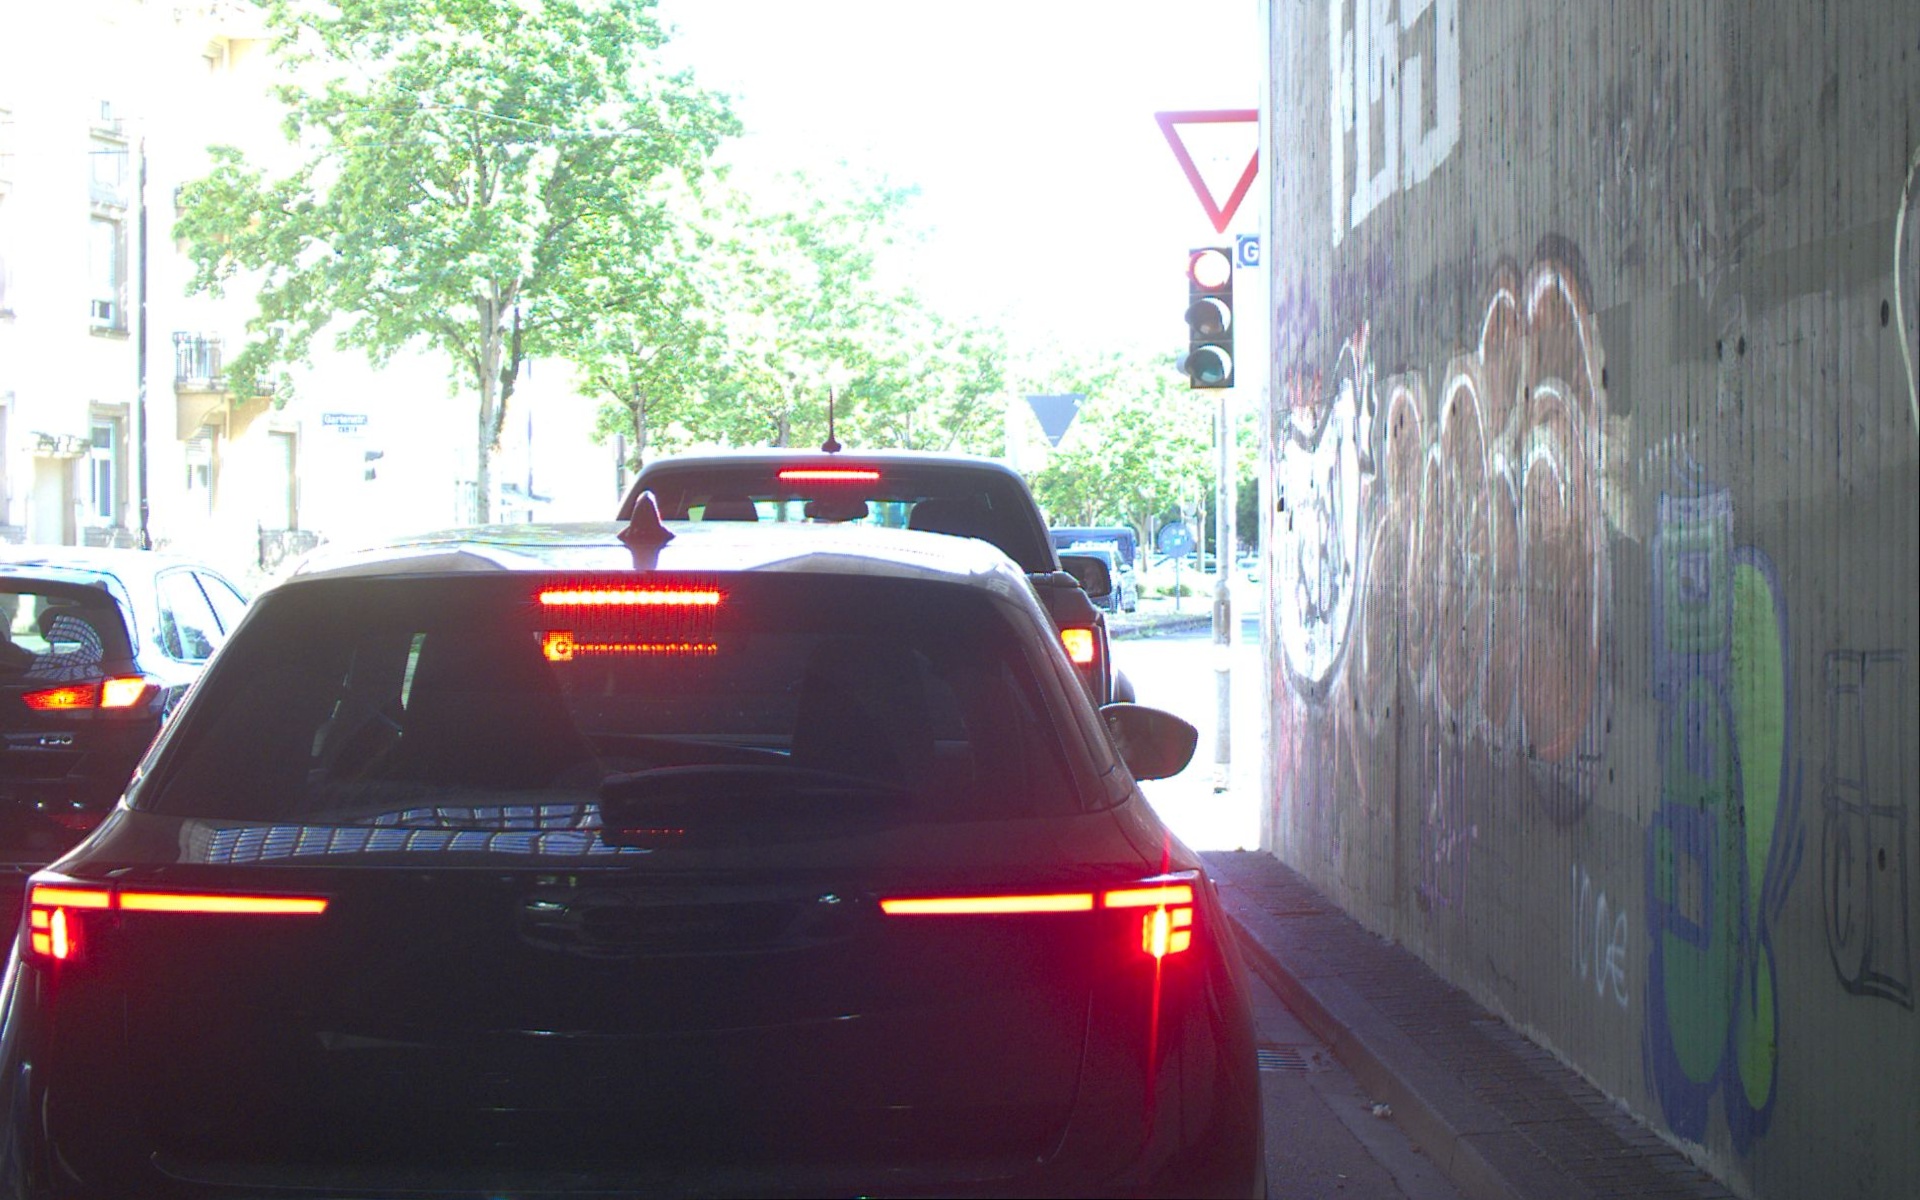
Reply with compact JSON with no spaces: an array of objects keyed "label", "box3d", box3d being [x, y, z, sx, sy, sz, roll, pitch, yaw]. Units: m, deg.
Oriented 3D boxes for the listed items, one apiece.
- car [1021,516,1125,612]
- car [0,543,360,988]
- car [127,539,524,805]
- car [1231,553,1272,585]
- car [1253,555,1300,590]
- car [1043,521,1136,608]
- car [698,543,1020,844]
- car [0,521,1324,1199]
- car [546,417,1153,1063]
[{"label":"car","box3d":[2.080,-0.652,62.228,1.754,1.661,3.944,1,1,3]},{"label":"car","box3d":[-3.523,0.517,13.320,1.762,1.475,3.844,0,1,-1]},{"label":"car","box3d":[-3.773,0.370,21.044,1.762,1.475,3.844,0,1,-1]},{"label":"car","box3d":[15.526,-1.672,183.197,1.754,1.661,3.943,1,1,11]},{"label":"car","box3d":[15.648,-1.365,169.747,1.818,1.661,4.813,1,1,11]},{"label":"car","box3d":[2.600,-0.706,68.347,1.754,1.661,3.944,1,1,3]},{"label":"car","box3d":[-0.531,0.436,19.293,1.609,1.508,4.054,0,1,-1]},{"label":"car","box3d":[-0.473,0.637,6.132,1.762,1.526,4.089,0,1,-1]},{"label":"car","box3d":[-0.345,0.375,12.073,1.762,1.876,4.146,0,1,-1]}]
